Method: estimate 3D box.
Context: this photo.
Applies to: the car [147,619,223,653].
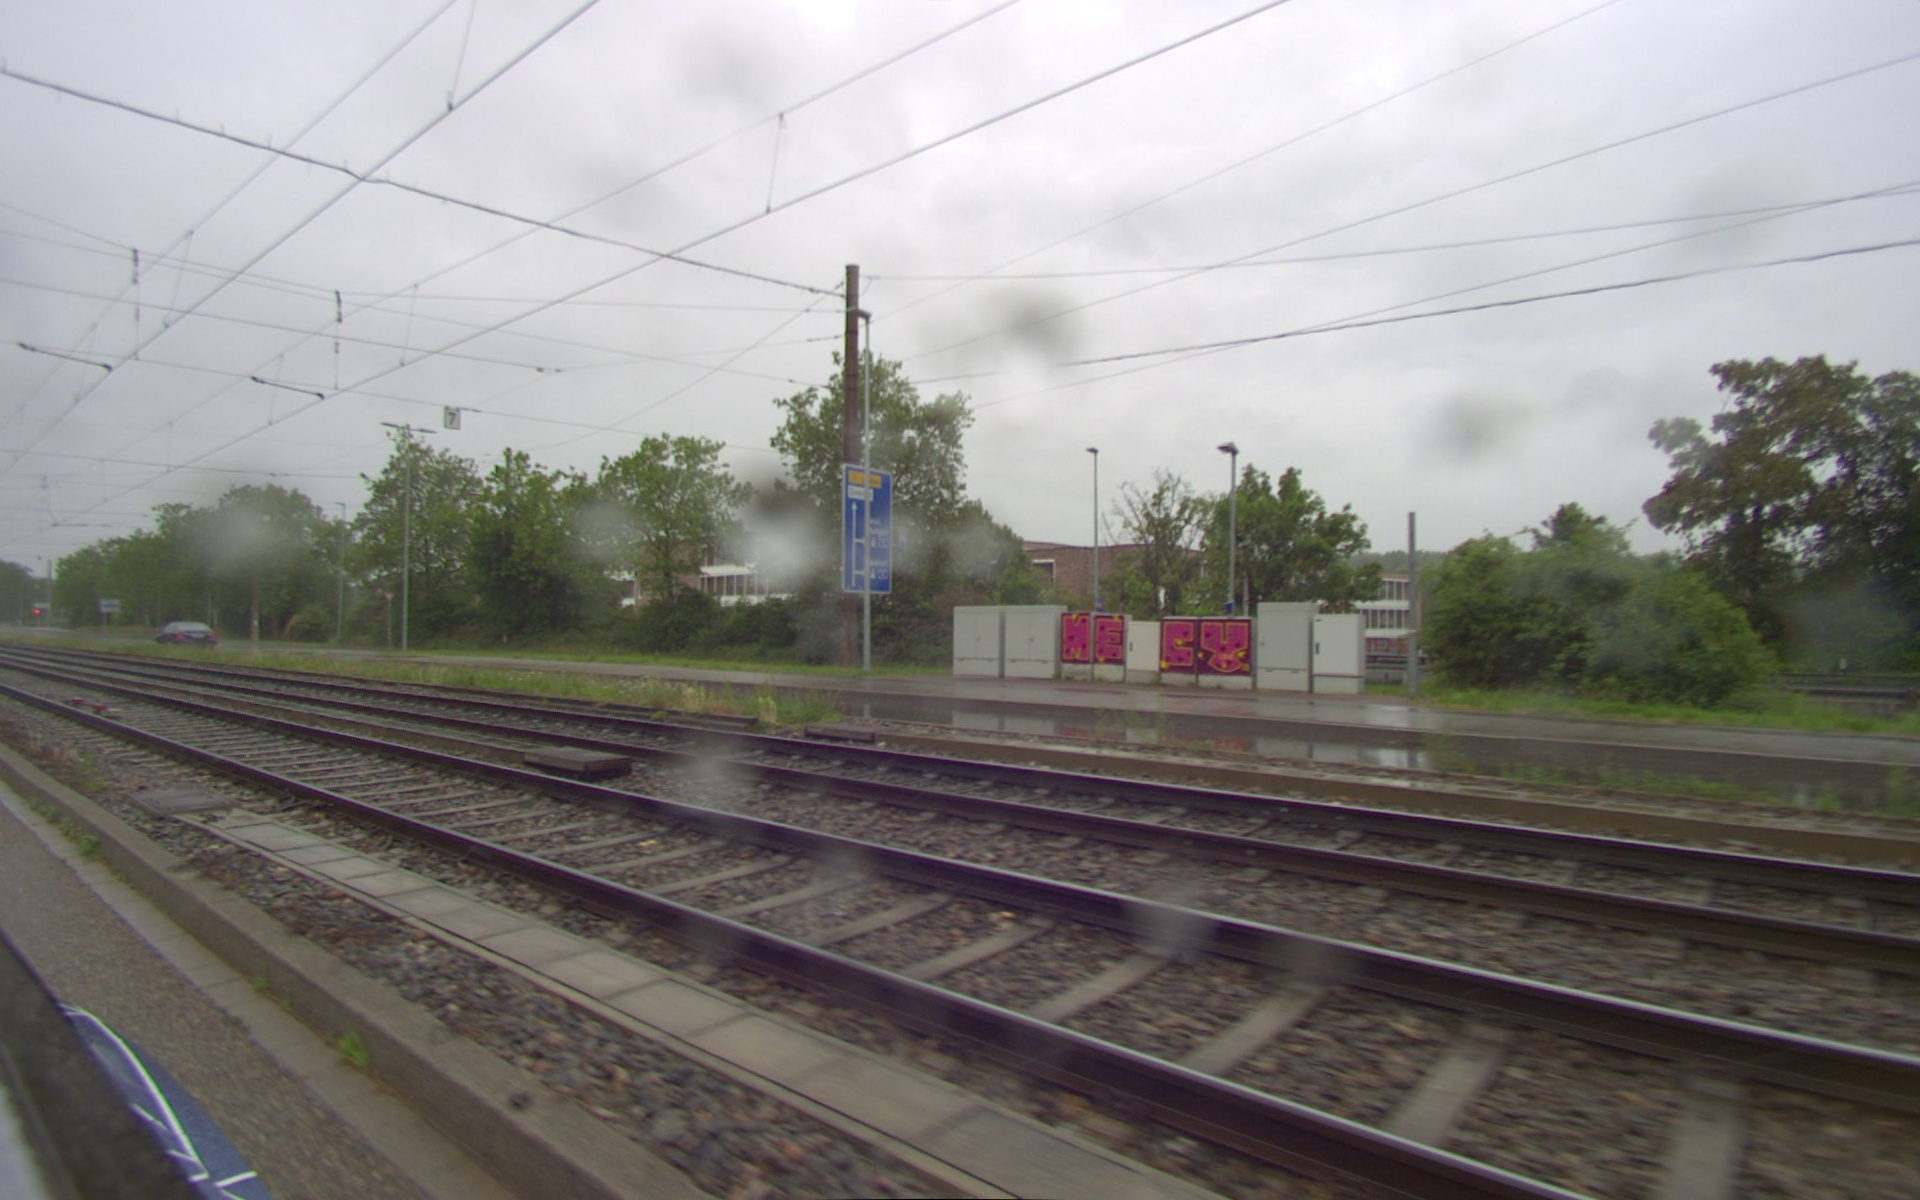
[{"bbox_3d":[-38.245,1.734,49.891,4.953,1.534,1.973,-1,0,40],"label":"car"}]
